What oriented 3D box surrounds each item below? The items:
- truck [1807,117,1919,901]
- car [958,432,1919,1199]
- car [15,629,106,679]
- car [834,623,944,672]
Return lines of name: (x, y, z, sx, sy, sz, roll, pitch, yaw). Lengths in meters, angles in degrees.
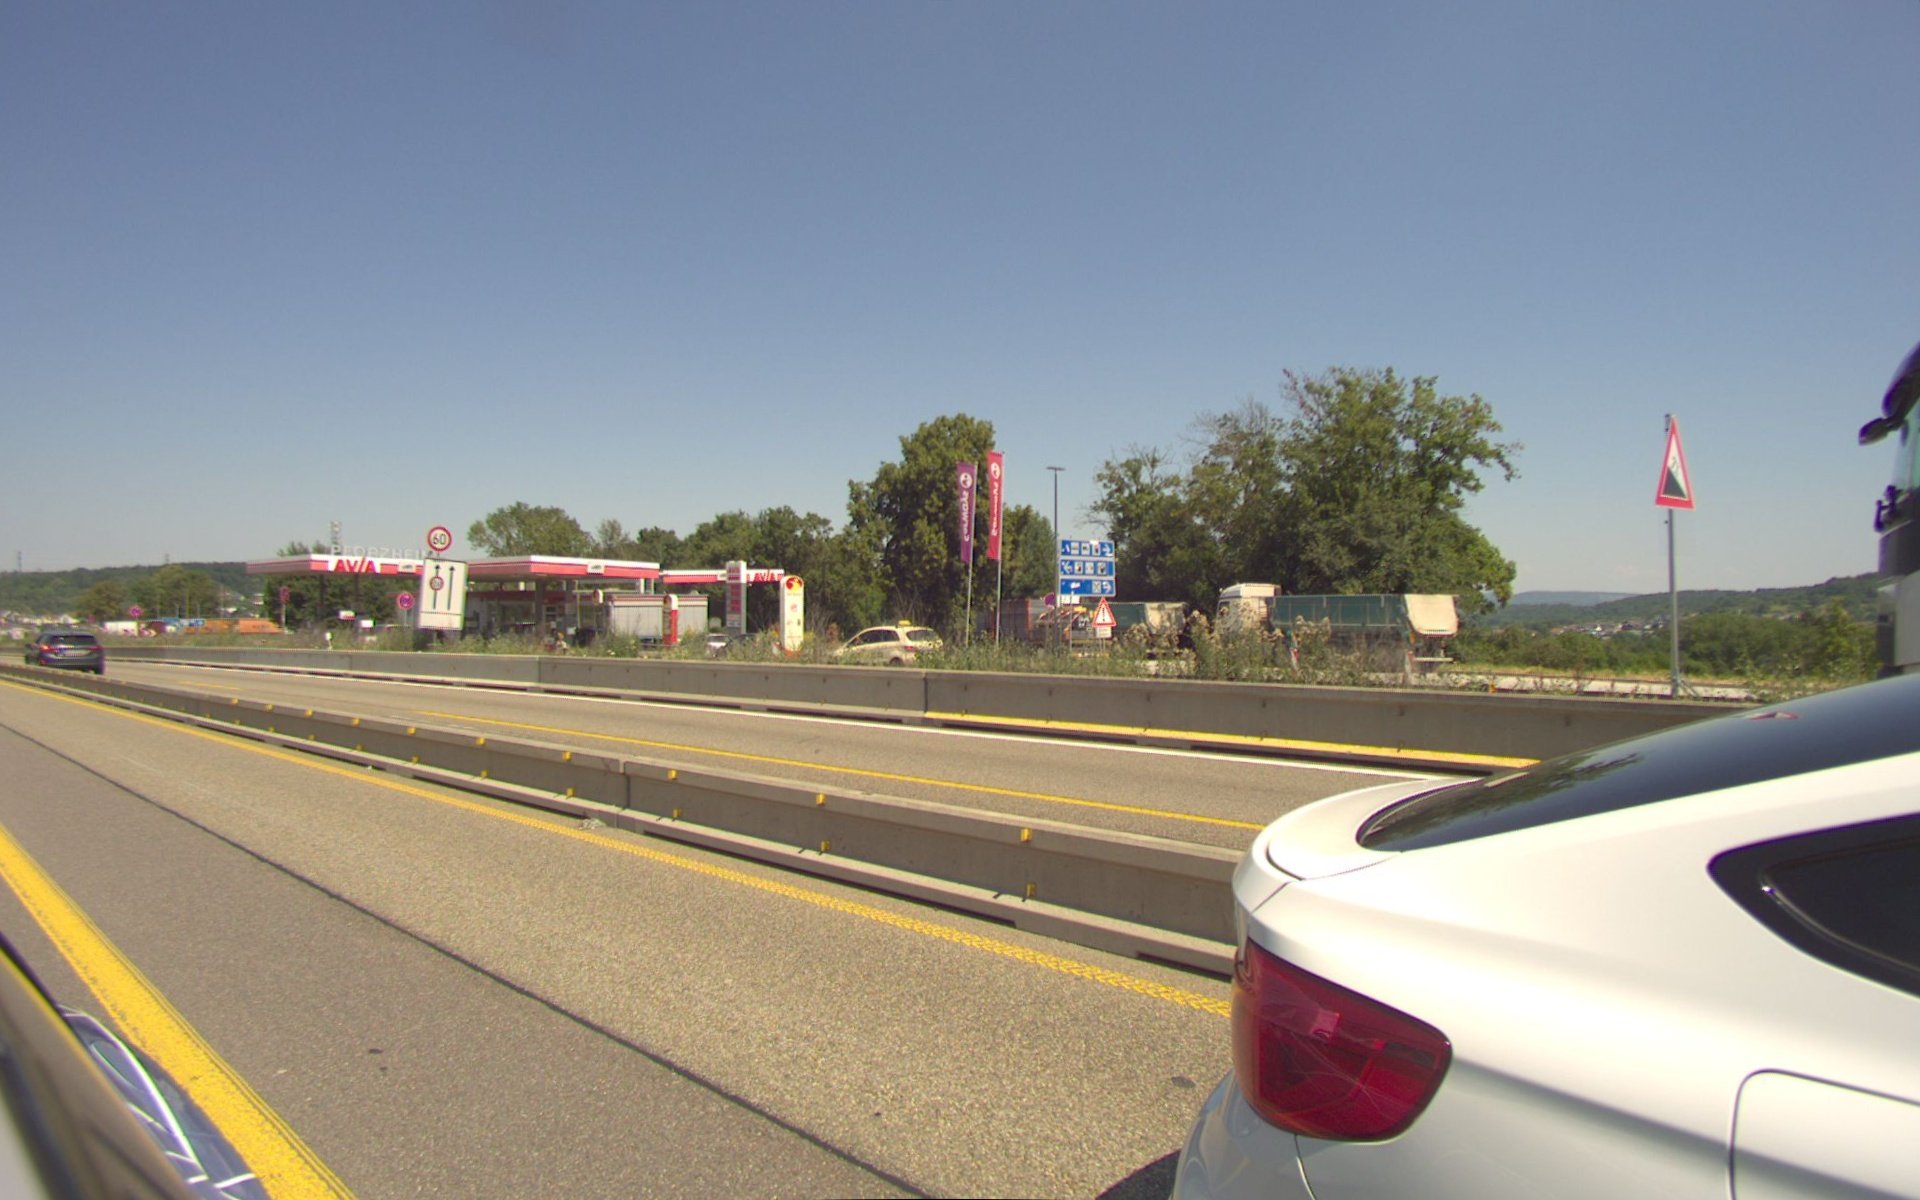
truck: (7.748, -0.524, 4.948, 5.454, 4.163, 2.802, -1, 0, 41)
car: (2.495, 0.615, 0.471, 5.070, 1.546, 1.776, -1, 0, 41)
car: (-30.003, 1.753, 33.718, 3.998, 1.497, 1.776, -1, 0, 41)
car: (-2.233, 1.445, 31.396, 3.406, 1.386, 1.436, -1, 0, 41)
